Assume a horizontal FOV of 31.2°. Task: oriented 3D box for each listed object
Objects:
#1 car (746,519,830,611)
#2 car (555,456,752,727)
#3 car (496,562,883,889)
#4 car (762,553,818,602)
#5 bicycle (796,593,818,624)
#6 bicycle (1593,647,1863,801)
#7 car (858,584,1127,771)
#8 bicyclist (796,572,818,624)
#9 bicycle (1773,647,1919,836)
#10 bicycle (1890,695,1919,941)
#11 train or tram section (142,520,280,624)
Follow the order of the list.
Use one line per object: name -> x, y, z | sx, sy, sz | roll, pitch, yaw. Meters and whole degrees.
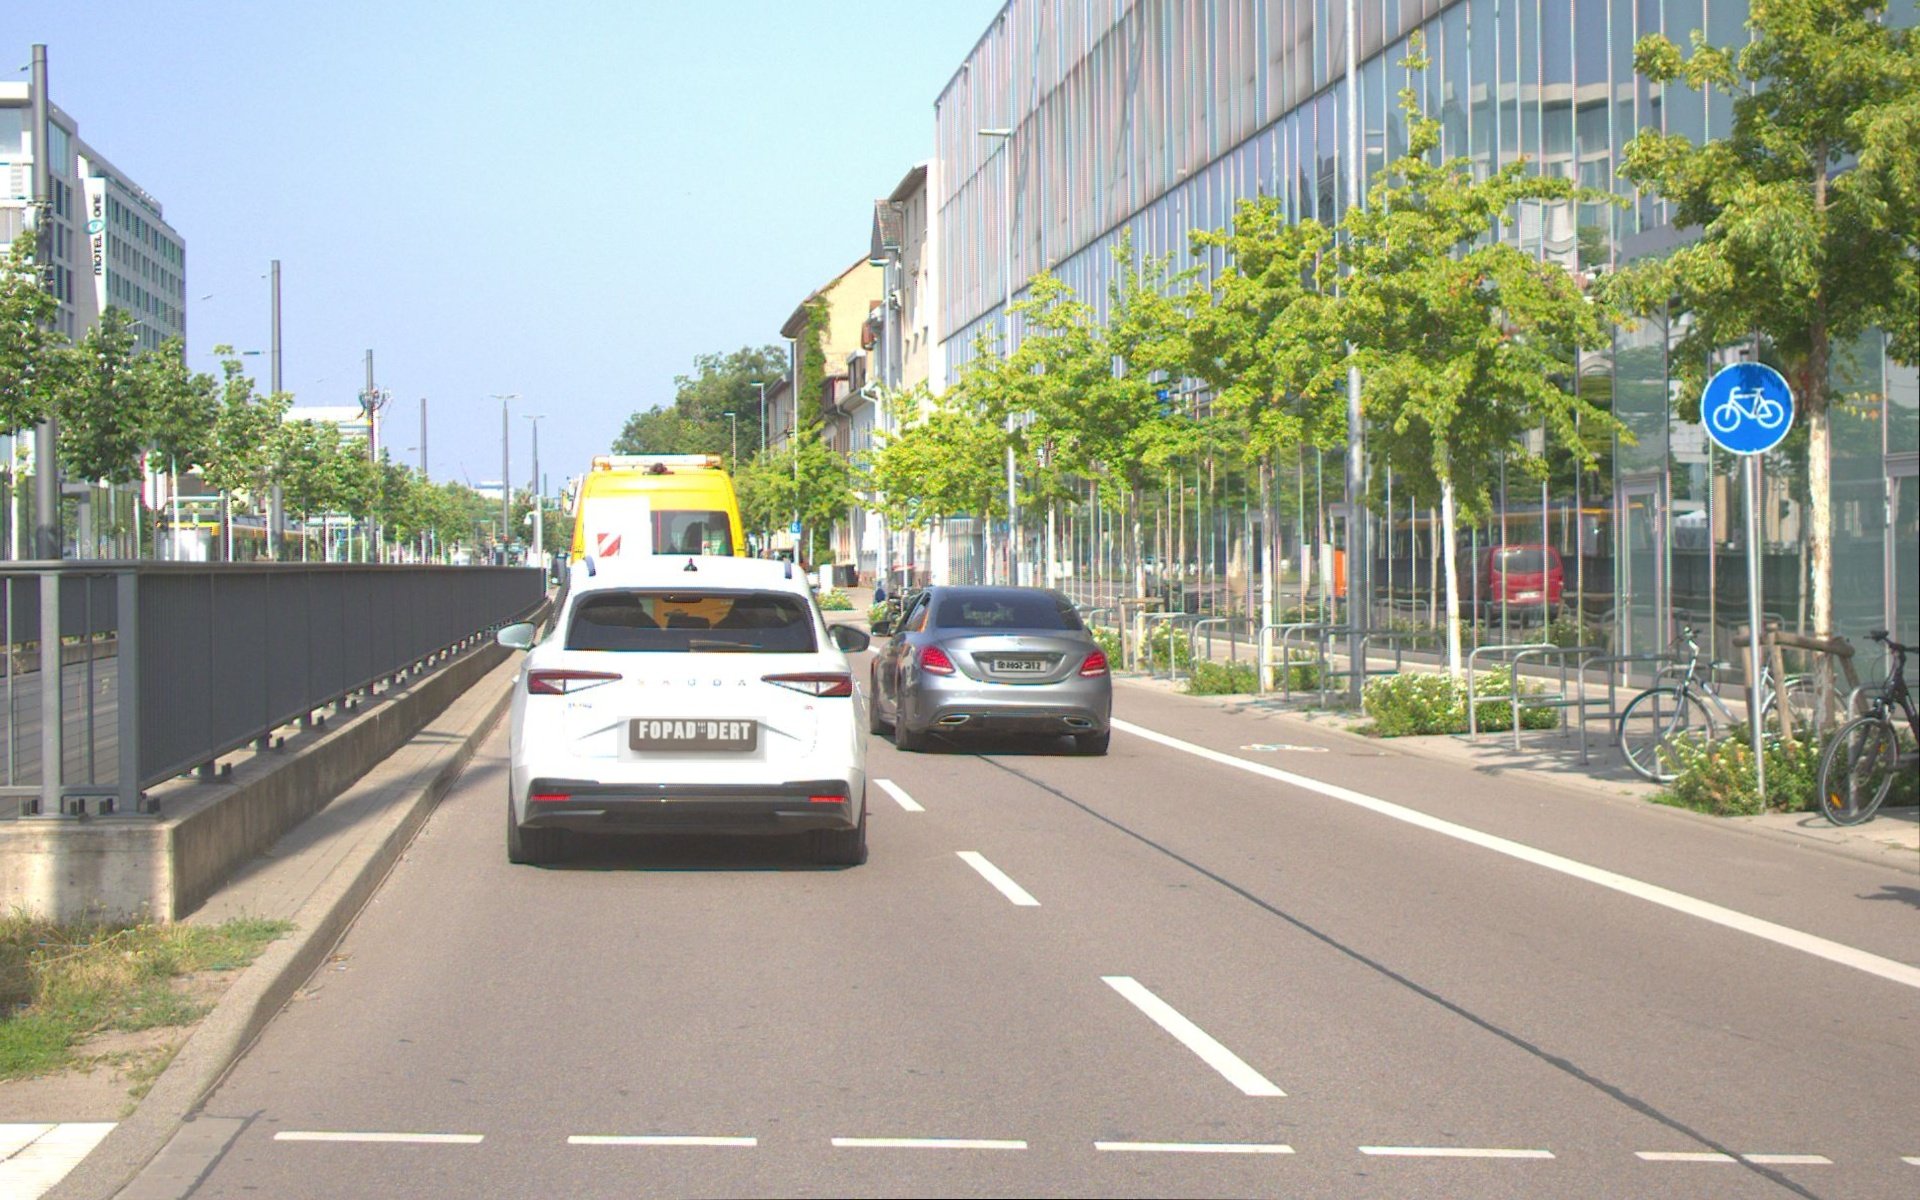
car -> -3.938, -0.789, 78.197 | 1.788, 2.007, 4.000 | 1, 0, -4
car -> -3.434, -0.206, 38.352 | 2.020, 2.786, 5.402 | 0, 3, -5
car -> -1.503, 0.583, 18.718 | 1.869, 1.569, 4.001 | 0, 1, -5
car -> -7.134, -0.948, 143.837 | 2.063, 2.007, 4.589 | 0, 1, -6
bicycle -> -4.634, 0.252, 104.237 | 0.655, 0.935, 1.517 | 0, 1, -3
bicycle -> 5.662, 0.910, 25.382 | 1.878, 1.105, 0.490 | 0, 1, -3
car -> 0.208, 0.623, 29.960 | 1.760, 1.431, 4.116 | 1, 1, -7
bicyclist -> -4.636, -0.068, 104.213 | 0.639, 1.571, 0.771 | 0, 1, -3
bicycle -> 6.041, 0.876, 21.220 | 1.839, 1.109, 0.687 | 1, 1, -3
bicycle -> 4.774, 1.016, 15.219 | 0.661, 1.113, 2.051 | 0, 1, -3
train or tram section -> -28.664, -1.039, 132.385 | 2.905, 3.663, 18.139 | 1, 0, -5
